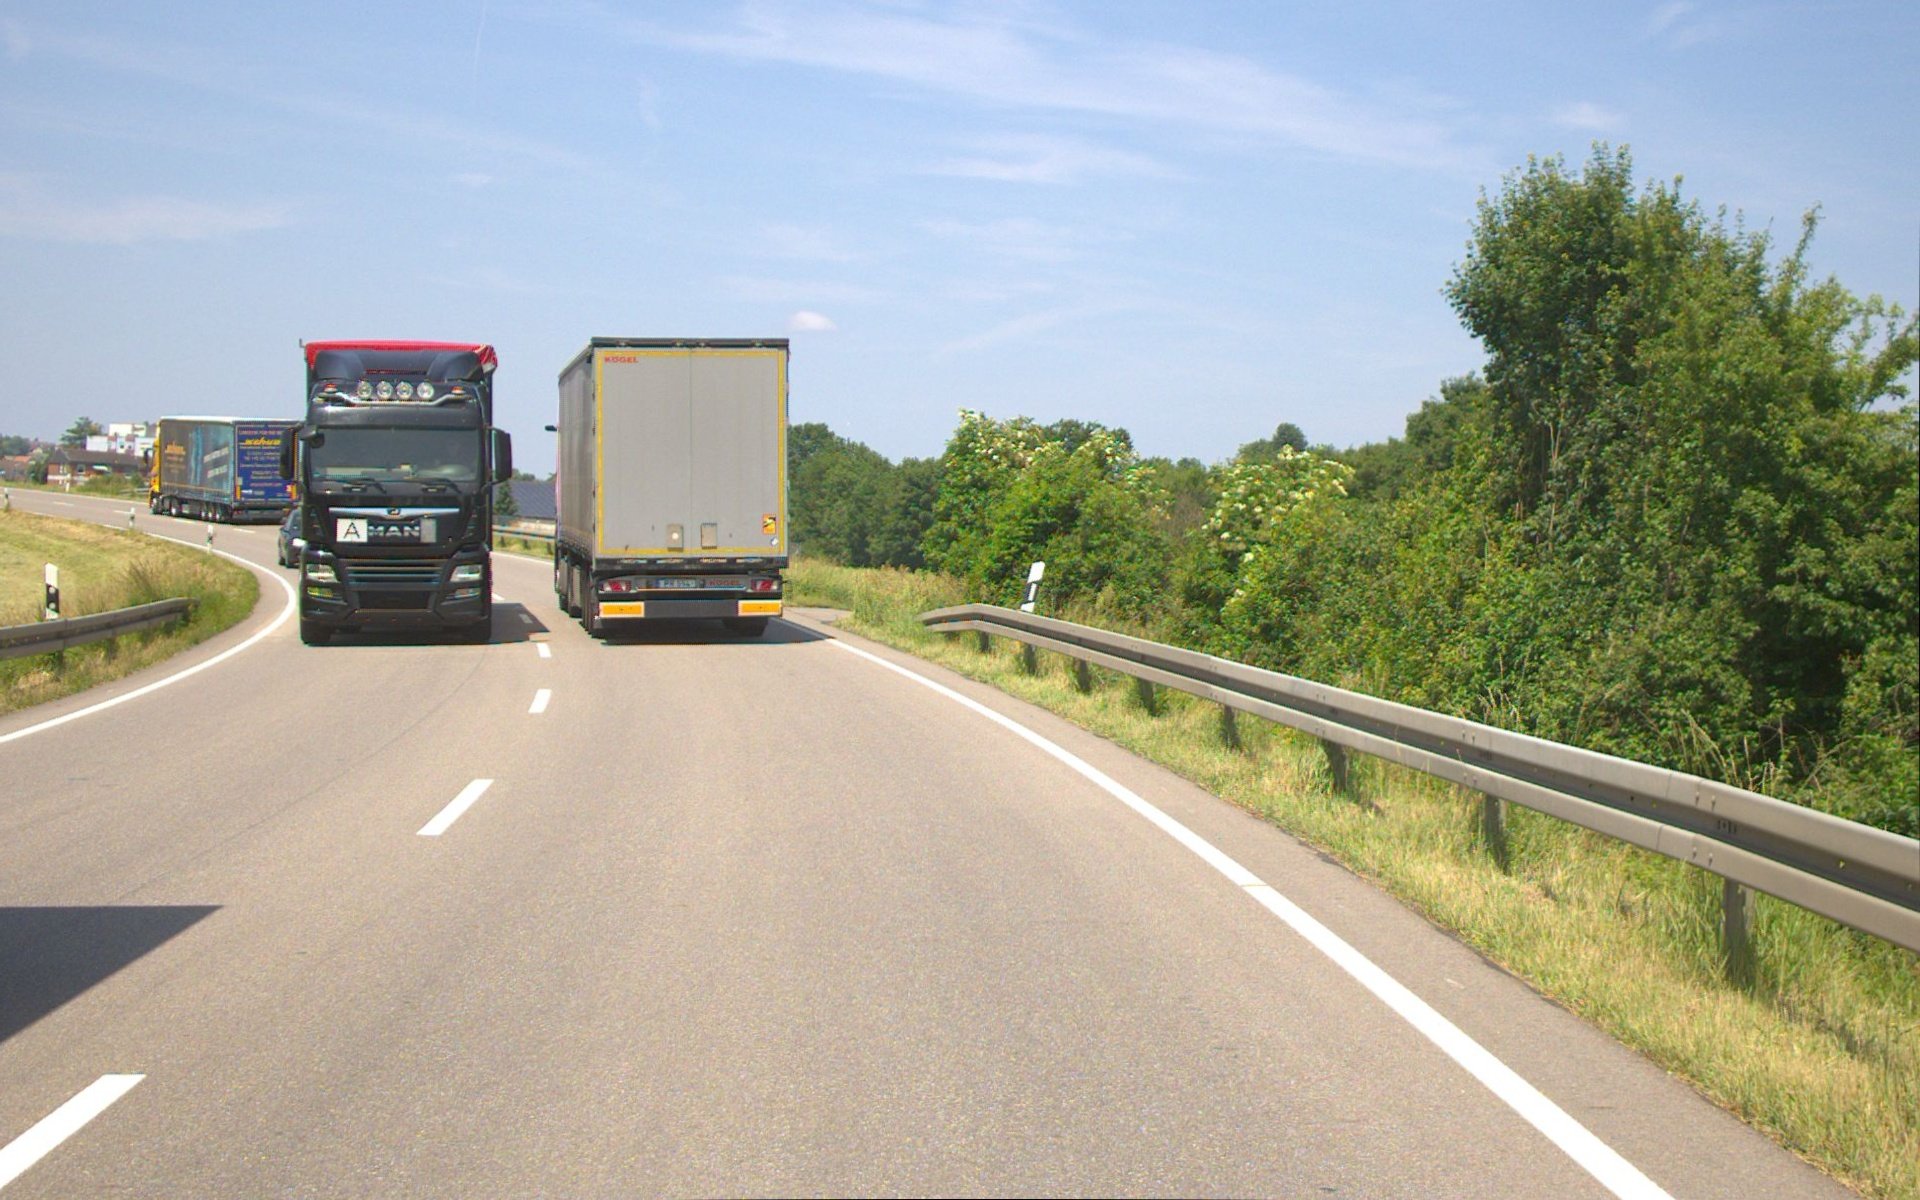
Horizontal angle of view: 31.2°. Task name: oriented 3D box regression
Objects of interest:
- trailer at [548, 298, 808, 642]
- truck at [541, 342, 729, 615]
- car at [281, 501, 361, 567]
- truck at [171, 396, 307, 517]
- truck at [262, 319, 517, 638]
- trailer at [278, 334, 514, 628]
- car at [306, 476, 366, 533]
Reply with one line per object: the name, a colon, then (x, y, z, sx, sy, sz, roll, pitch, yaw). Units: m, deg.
trailer: (-4.400, -1.807, 50.730, 2.866, 4.385, 13.496, 0, 1, -9)
truck: (-5.543, -2.002, 57.971, 2.858, 4.385, 5.072, 0, 1, -9)
car: (-16.248, -1.691, 87.278, 1.699, 1.464, 4.202, 3, 2, -14)
truck: (-29.068, -5.762, 137.880, 3.548, 4.377, 18.128, 2, 2, -17)
truck: (-7.943, -1.671, 48.626, 3.240, 4.135, 6.653, 1, 1, -7)
trailer: (-8.878, -1.890, 55.659, 3.240, 4.135, 14.448, 0, 2, -7)
car: (-21.074, -3.204, 115.966, 1.725, 1.866, 4.001, 1, 1, -14)
